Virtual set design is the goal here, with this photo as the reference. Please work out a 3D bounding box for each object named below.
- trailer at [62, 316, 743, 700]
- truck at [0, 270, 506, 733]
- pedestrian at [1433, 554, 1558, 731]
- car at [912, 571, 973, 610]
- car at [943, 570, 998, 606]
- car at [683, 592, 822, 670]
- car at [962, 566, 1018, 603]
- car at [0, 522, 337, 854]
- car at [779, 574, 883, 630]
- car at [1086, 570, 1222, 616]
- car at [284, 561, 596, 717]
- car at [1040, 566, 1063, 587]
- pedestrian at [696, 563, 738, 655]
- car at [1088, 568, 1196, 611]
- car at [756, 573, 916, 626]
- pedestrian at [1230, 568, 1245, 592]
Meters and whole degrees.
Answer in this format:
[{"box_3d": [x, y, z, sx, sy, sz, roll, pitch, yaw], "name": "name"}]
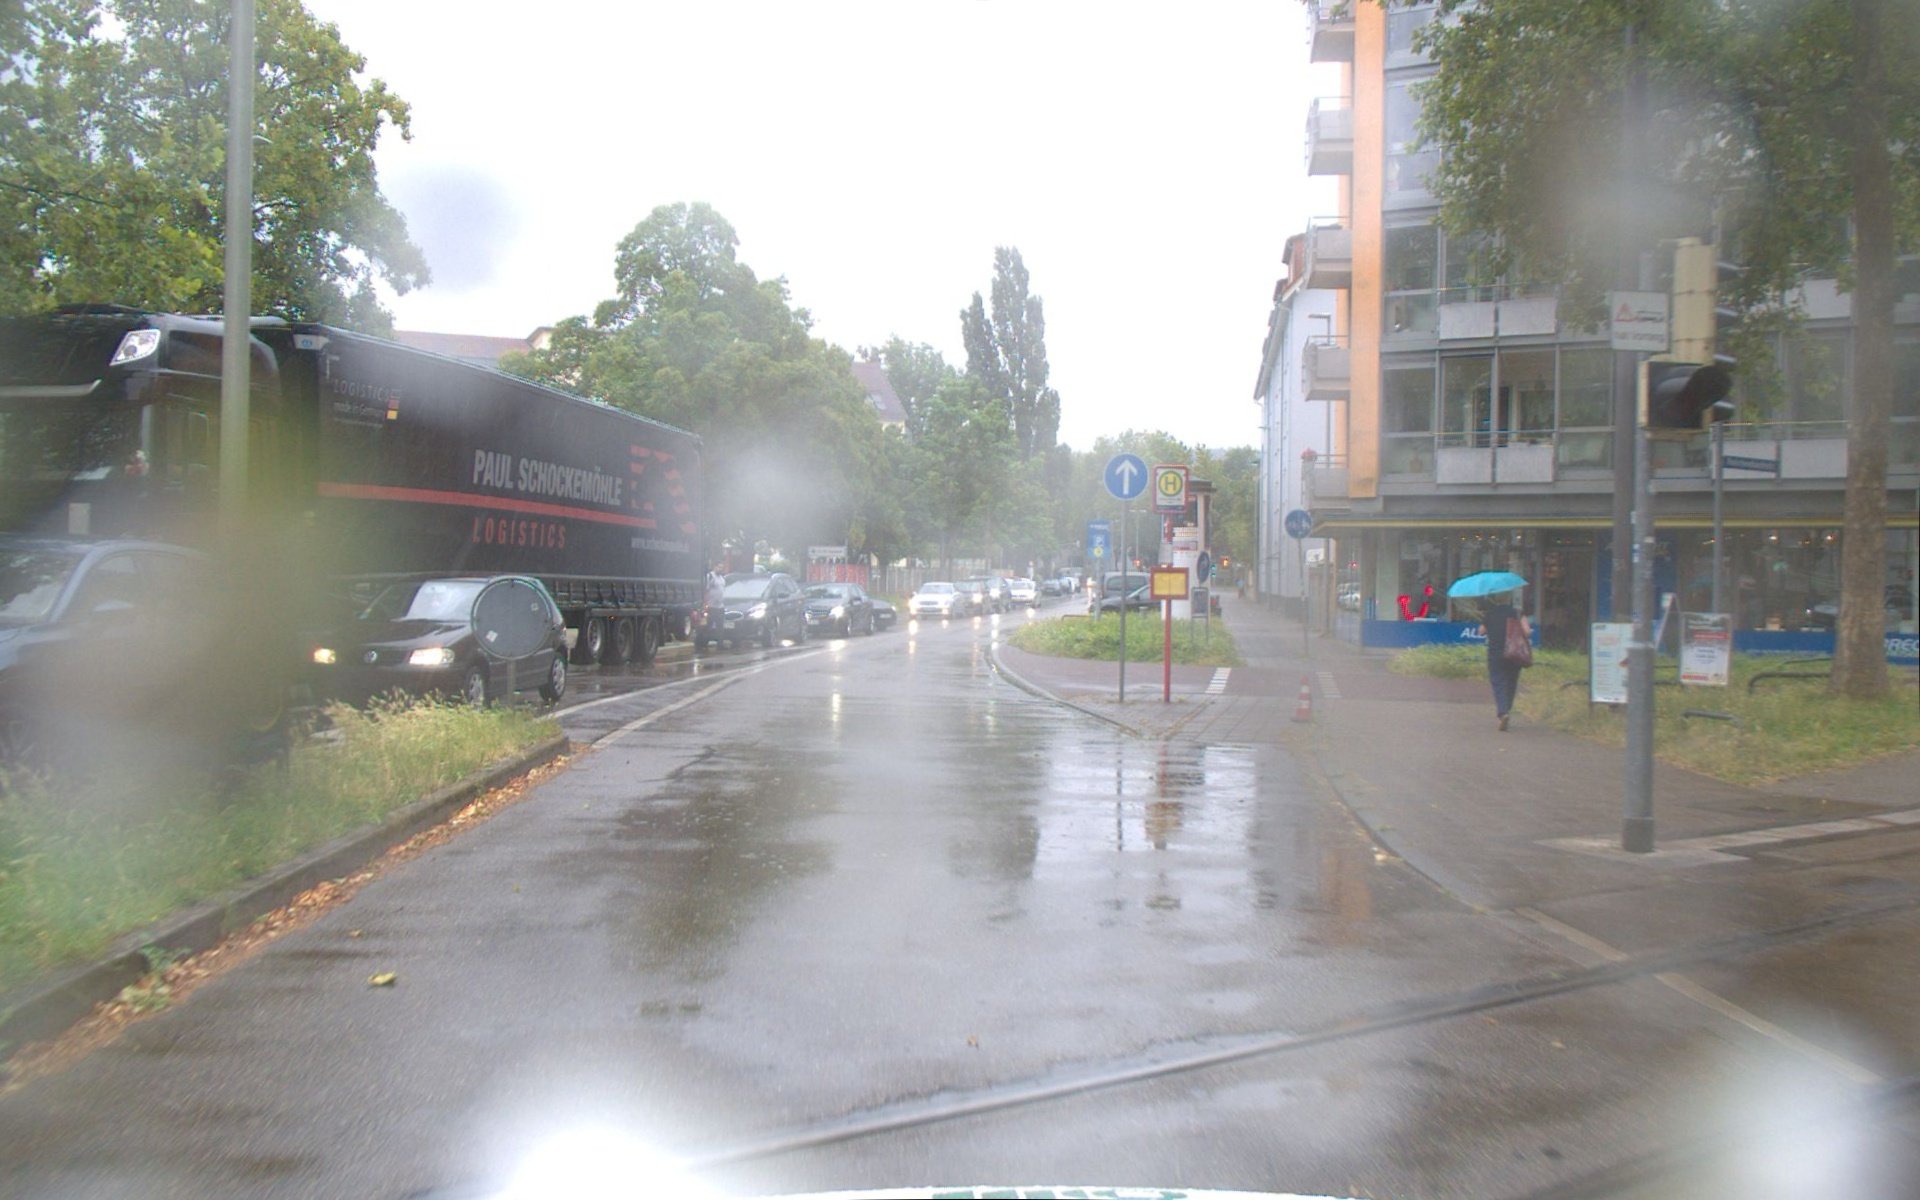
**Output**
[{"box_3d": [-7.096, -1.172, 25.462, 3.369, 4.119, 15.065, 0, 1, 9], "name": "trailer"}, {"box_3d": [-8.162, -0.994, 18.539, 3.376, 4.149, 6.981, 1, 1, 8], "name": "truck"}, {"box_3d": [6.008, 0.442, 18.645, 1.145, 1.897, 1.386, 1, 1, 11], "name": "pedestrian"}, {"box_3d": [-0.641, -0.390, 64.189, 1.737, 1.428, 4.834, 1, 1, 7], "name": "car"}, {"box_3d": [0.490, -0.539, 71.383, 1.741, 1.445, 4.269, 0, 1, 9], "name": "car"}, {"box_3d": [-4.641, 0.687, 37.677, 1.827, 1.648, 4.806, 0, -1, 9], "name": "car"}, {"box_3d": [1.450, -0.751, 78.164, 1.873, 1.668, 4.826, 1, 1, 10], "name": "car"}, {"box_3d": [-6.106, 0.396, 10.704, 2.031, 1.711, 4.933, 3, 3, 3], "name": "car"}, {"box_3d": [-3.370, 0.018, 43.948, 1.689, 1.384, 4.342, 0, 1, 10], "name": "car"}, {"box_3d": [6.511, -0.240, 55.391, 4.436, 1.496, 1.985, 0, 1, 9], "name": "car"}, {"box_3d": [-5.267, 0.312, 17.343, 1.662, 1.397, 4.103, 1, 2, 5], "name": "car"}, {"box_3d": [7.508, -1.930, 135.410, 1.739, 1.556, 4.002, 1, 3, 2], "name": "car"}, {"box_3d": [-5.072, 0.175, 34.485, 0.852, 1.875, 0.990, 0, 1, -10], "name": "pedestrian"}, {"box_3d": [7.079, -0.426, 64.413, 4.100, 1.595, 1.890, 0, 1, 7], "name": "car"}, {"box_3d": [-3.808, -0.058, 50.139, 4.839, 1.479, 2.075, 1, 2, 41], "name": "car"}, {"box_3d": [21.509, -1.562, 128.141, 1.040, 1.842, 1.094, 1, 1, 5], "name": "pedestrian"}]
